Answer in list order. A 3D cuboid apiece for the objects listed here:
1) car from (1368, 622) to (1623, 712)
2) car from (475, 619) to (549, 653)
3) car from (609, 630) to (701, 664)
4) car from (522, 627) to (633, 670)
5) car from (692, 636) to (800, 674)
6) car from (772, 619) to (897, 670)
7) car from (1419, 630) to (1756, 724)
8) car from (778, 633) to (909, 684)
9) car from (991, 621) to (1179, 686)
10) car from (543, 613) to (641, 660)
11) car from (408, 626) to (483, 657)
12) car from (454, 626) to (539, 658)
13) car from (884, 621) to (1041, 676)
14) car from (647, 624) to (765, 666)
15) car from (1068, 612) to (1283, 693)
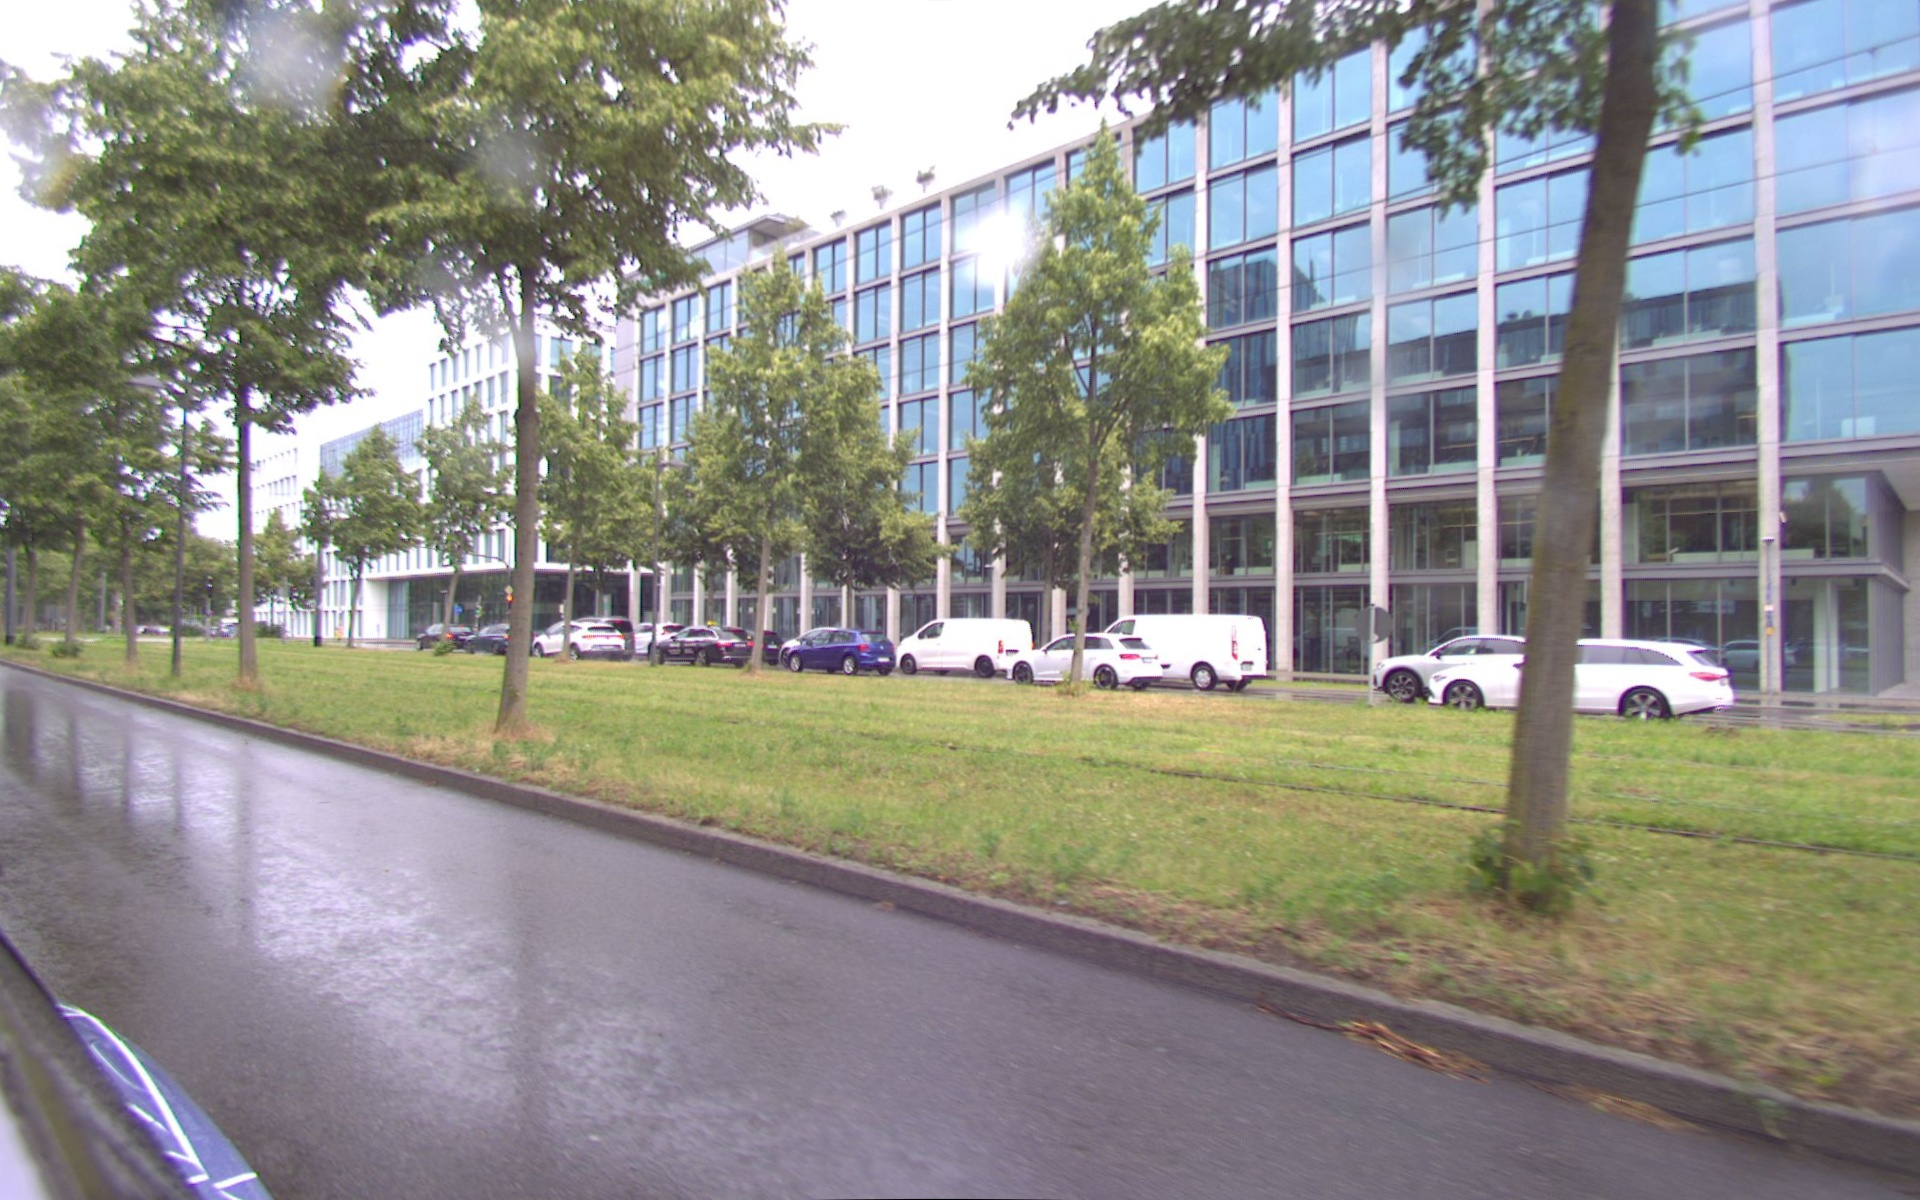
[{"bbox_3d":[11.616,1.359,22.173,4.578,1.762,1.929,-1,-2,45],"label":"car"},{"bbox_3d":[-24.058,1.919,54.279,4.269,1.707,1.931,-1,-2,40],"label":"car"},{"bbox_3d":[-13.755,2.123,45.483,4.268,1.396,1.931,-4,-4,39],"label":"car"},{"bbox_3d":[-14.194,1.763,37.445,4.574,1.463,1.930,-1,-2,41],"label":"car"},{"bbox_3d":[-8.797,2.255,41.353,4.620,1.457,1.840,-4,-4,39],"label":"car"},{"bbox_3d":[-4.702,1.672,37.424,4.629,1.759,1.931,-4,-4,39],"label":"car"},{"bbox_3d":[11.212,1.354,18.362,1.928,1.472,4.833,1,-4,-45],"label":"car"},{"bbox_3d":[-3.747,1.875,32.285,3.958,1.506,1.931,-4,-4,39],"label":"car"},{"bbox_3d":[3.171,1.309,26.221,4.574,1.525,1.930,-1,-2,41],"label":"car"},{"bbox_3d":[-15.511,1.539,42.604,4.541,1.863,1.930,-2,-3,41],"label":"car"},{"bbox_3d":[-26.688,2.158,52.441,4.461,1.571,1.930,-3,-3,41],"label":"car"},{"bbox_3d":[-21.697,1.988,47.316,4.469,1.396,1.931,-4,-4,40],"label":"car"},{"bbox_3d":[0.012,1.604,33.098,5.024,1.664,1.931,-4,-4,39],"label":"car"},{"bbox_3d":[-9.350,1.677,37.079,4.601,1.396,1.930,-4,-4,41],"label":"car"},{"bbox_3d":[5.819,1.474,27.871,5.372,2.022,2.243,-4,-4,43],"label":"car"}]
